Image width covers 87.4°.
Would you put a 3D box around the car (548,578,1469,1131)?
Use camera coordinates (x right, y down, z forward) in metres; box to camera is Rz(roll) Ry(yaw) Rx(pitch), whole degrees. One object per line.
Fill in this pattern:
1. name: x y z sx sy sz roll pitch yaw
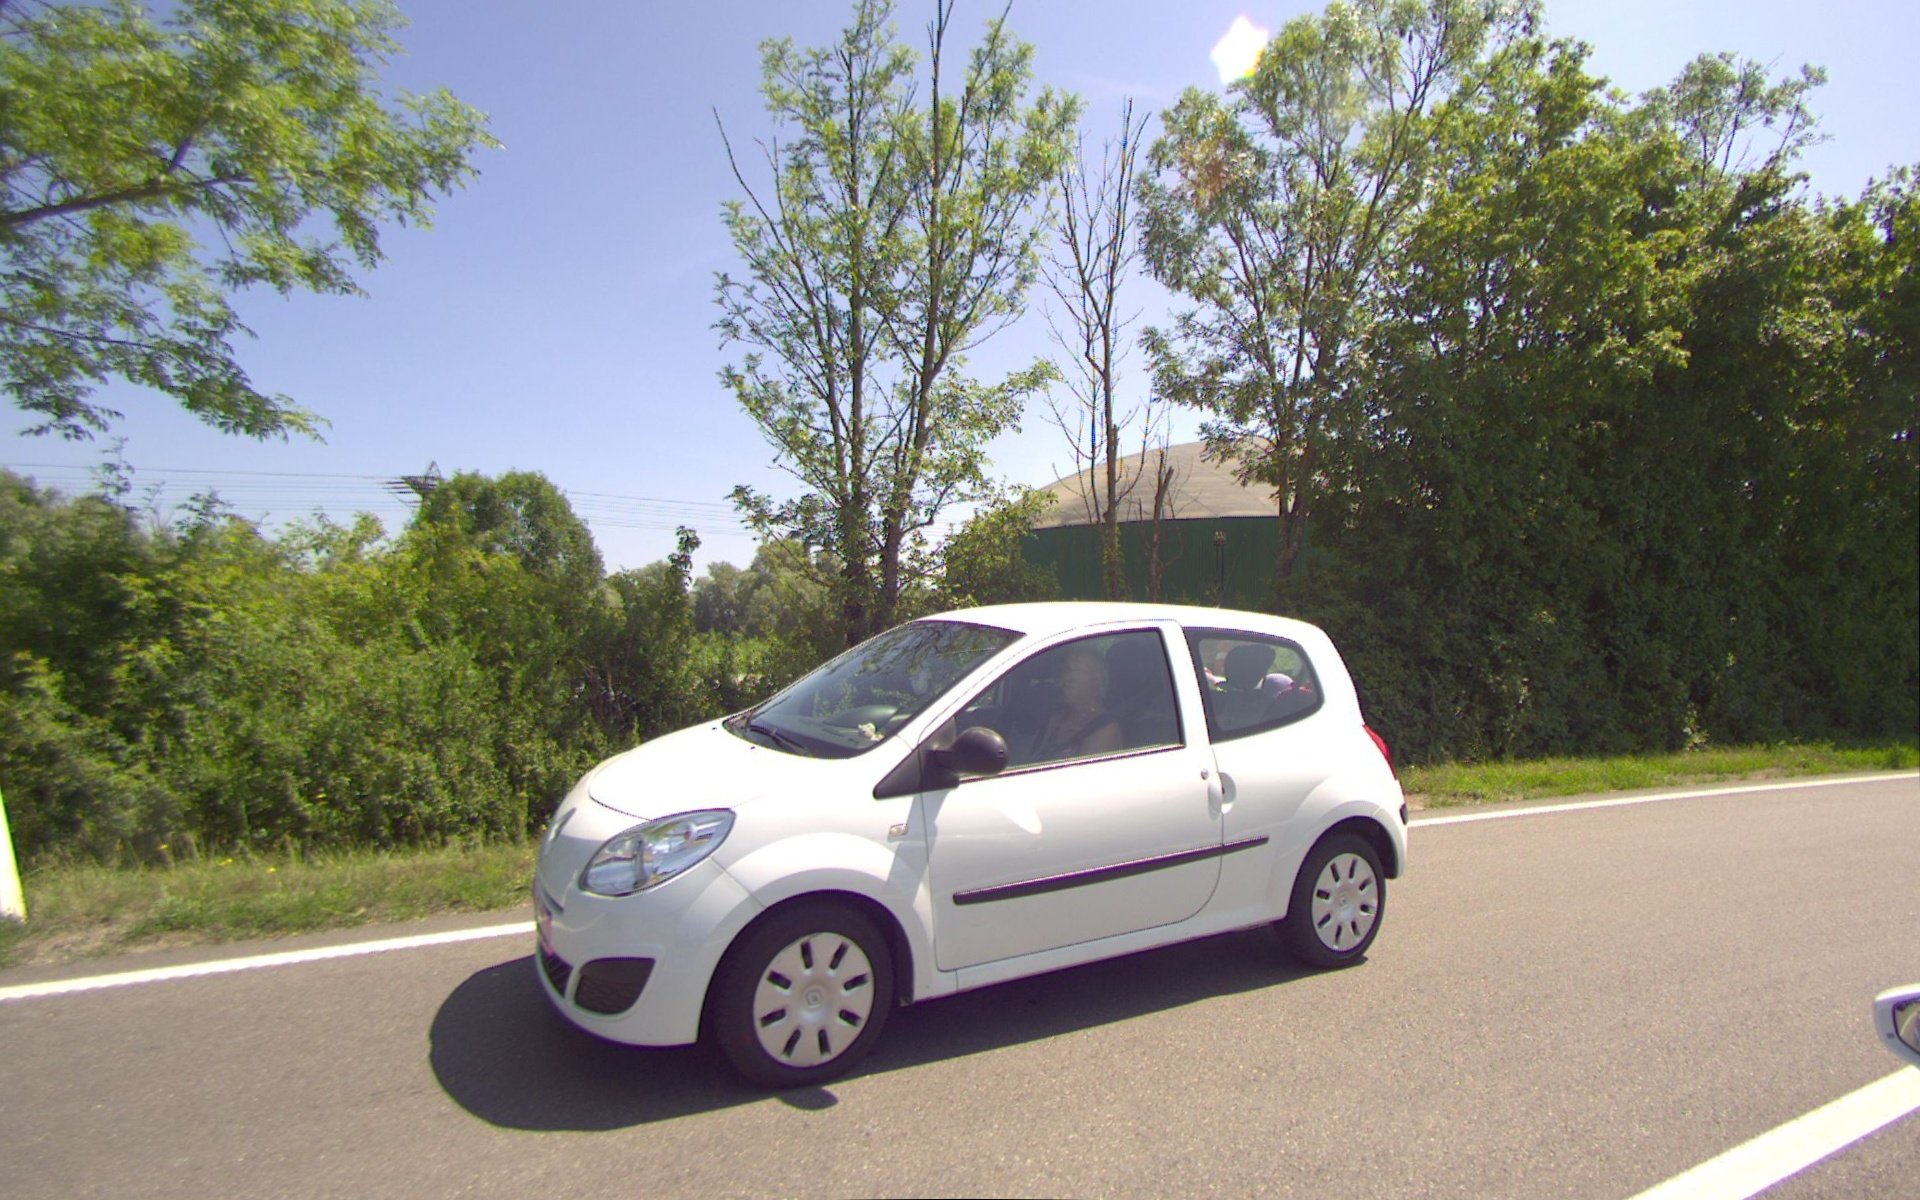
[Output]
1. car: 0.289 0.745 4.198 3.563 1.462 1.530 2 -1 -28
